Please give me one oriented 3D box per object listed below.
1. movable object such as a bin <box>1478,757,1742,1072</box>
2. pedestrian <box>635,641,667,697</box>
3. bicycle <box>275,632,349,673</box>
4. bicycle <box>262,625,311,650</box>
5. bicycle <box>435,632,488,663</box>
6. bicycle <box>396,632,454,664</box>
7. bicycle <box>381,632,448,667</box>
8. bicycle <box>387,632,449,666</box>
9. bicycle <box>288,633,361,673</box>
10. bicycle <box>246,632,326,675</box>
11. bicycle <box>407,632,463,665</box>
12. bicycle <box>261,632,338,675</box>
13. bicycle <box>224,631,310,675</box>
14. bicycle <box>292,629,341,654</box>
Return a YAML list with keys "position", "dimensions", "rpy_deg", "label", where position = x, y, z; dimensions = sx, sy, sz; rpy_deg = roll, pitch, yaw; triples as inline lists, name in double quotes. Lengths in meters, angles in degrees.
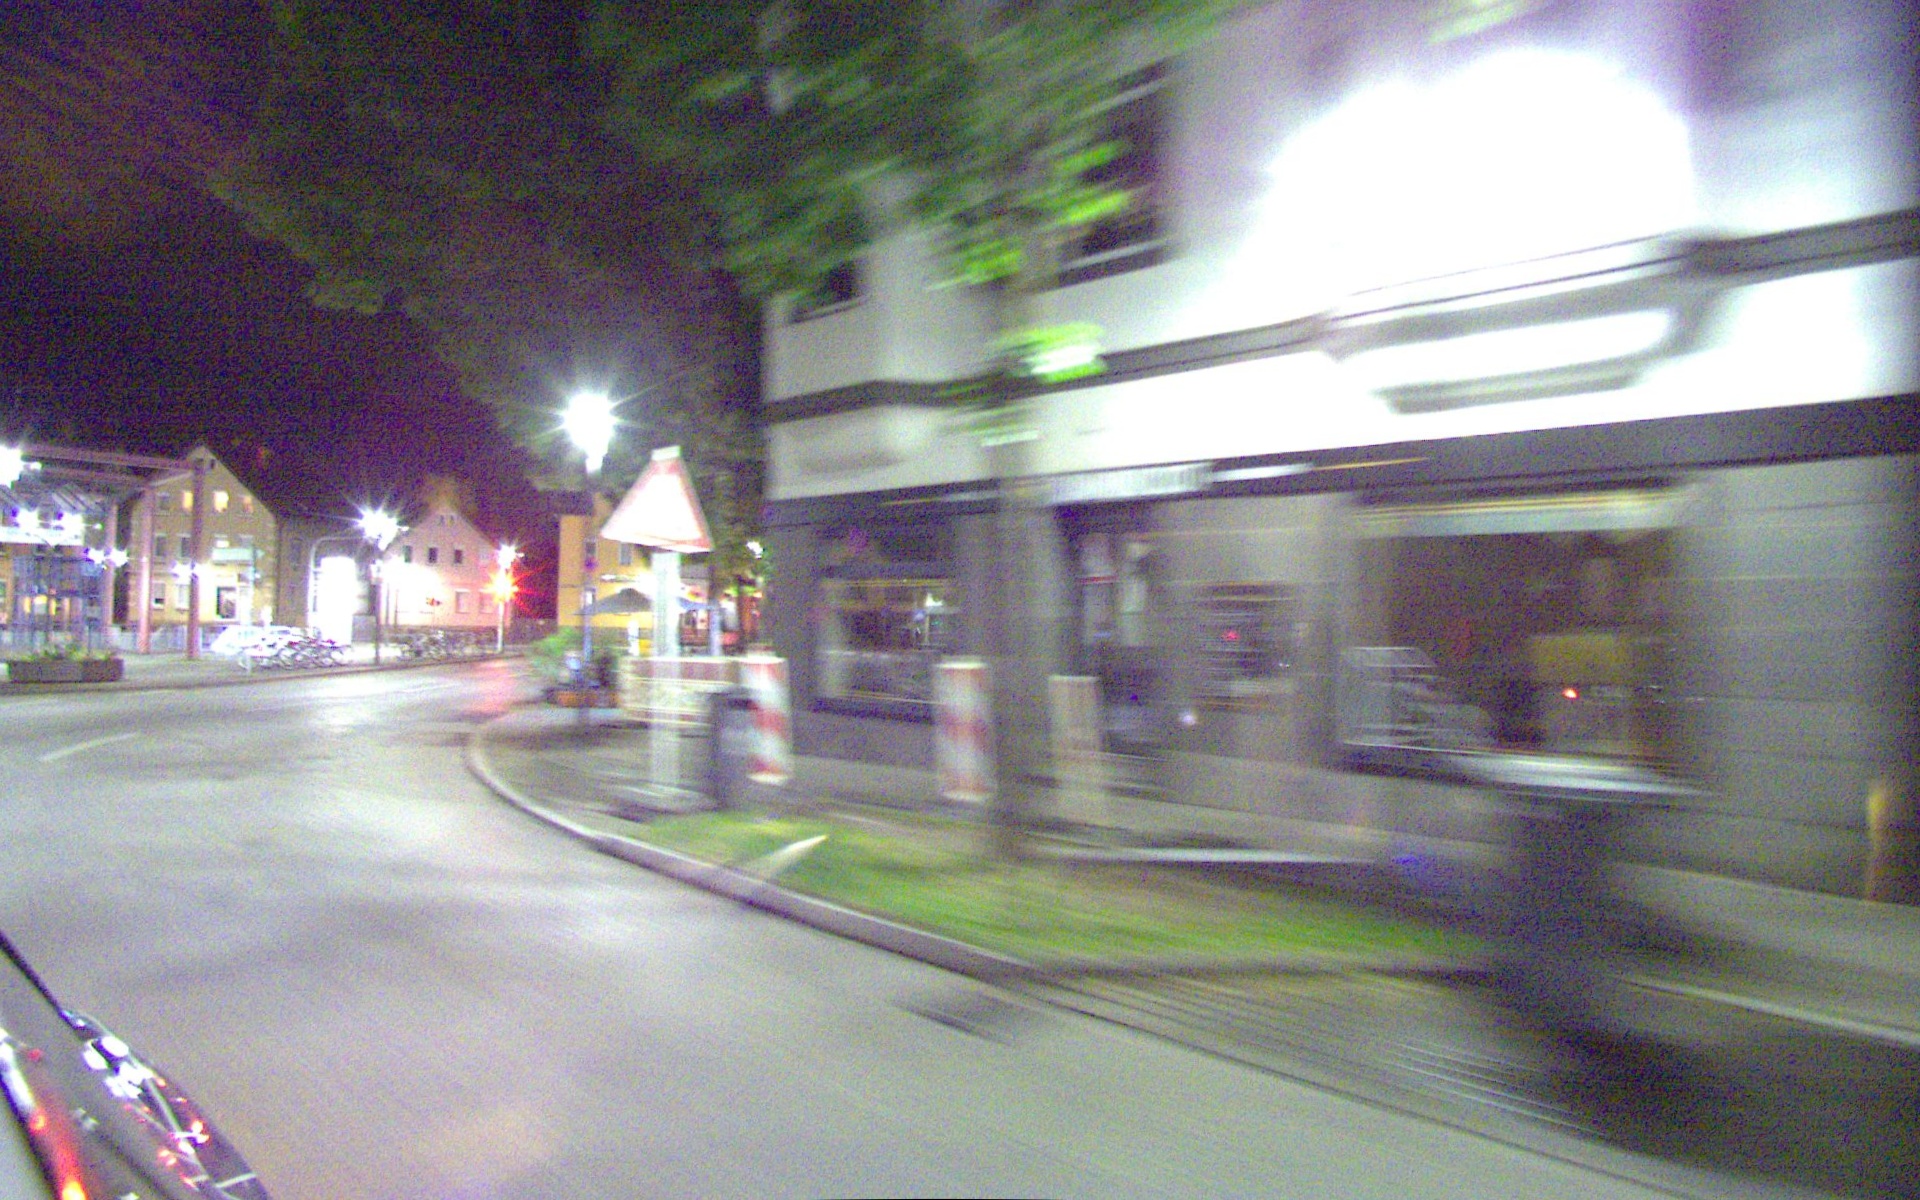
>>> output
- position: [2.602, 1.223, 4.116]
  dimensions: [0.616, 1.057, 0.689]
  rpy_deg: [1, -1, 0]
  label: "movable object such as a bin"
- position: [-7.940, 1.771, 26.007]
  dimensions: [0.667, 1.389, 0.578]
  rpy_deg: [2, -3, -10]
  label: "pedestrian"
- position: [-19.201, 1.552, 30.001]
  dimensions: [1.752, 1.160, 0.582]
  rpy_deg: [2, -3, -1]
  label: "bicycle"
- position: [-31.966, 1.794, 48.034]
  dimensions: [0.648, 1.136, 1.783]
  rpy_deg: [-1, -3, 33]
  label: "bicycle"
- position: [-19.619, 1.869, 39.833]
  dimensions: [1.635, 1.149, 0.829]
  rpy_deg: [2, -3, -6]
  label: "bicycle"
- position: [-19.952, 1.780, 37.750]
  dimensions: [1.747, 1.149, 0.688]
  rpy_deg: [2, -3, -6]
  label: "bicycle"
- position: [-18.585, 1.688, 34.513]
  dimensions: [1.841, 1.143, 0.726]
  rpy_deg: [2, -3, -8]
  label: "bicycle"
- position: [-19.115, 1.716, 35.735]
  dimensions: [1.765, 1.143, 0.630]
  rpy_deg: [2, -3, -8]
  label: "bicycle"
- position: [-19.229, 1.608, 30.640]
  dimensions: [1.752, 1.160, 0.582]
  rpy_deg: [2, -3, -1]
  label: "bicycle"
- position: [-19.036, 1.509, 28.603]
  dimensions: [1.749, 1.160, 0.615]
  rpy_deg: [2, -3, -7]
  label: "bicycle"
- position: [-18.999, 1.761, 36.650]
  dimensions: [1.634, 1.143, 0.643]
  rpy_deg: [2, -3, -6]
  label: "bicycle"
- position: [-19.113, 1.550, 29.321]
  dimensions: [1.749, 1.160, 0.583]
  rpy_deg: [2, -3, -7]
  label: "bicycle"
- position: [-19.005, 1.460, 27.794]
  dimensions: [1.760, 1.160, 0.761]
  rpy_deg: [2, -3, -7]
  label: "bicycle"
- position: [-29.731, 1.921, 46.777]
  dimensions: [0.648, 1.136, 1.783]
  rpy_deg: [-1, -3, 33]
  label: "bicycle"
